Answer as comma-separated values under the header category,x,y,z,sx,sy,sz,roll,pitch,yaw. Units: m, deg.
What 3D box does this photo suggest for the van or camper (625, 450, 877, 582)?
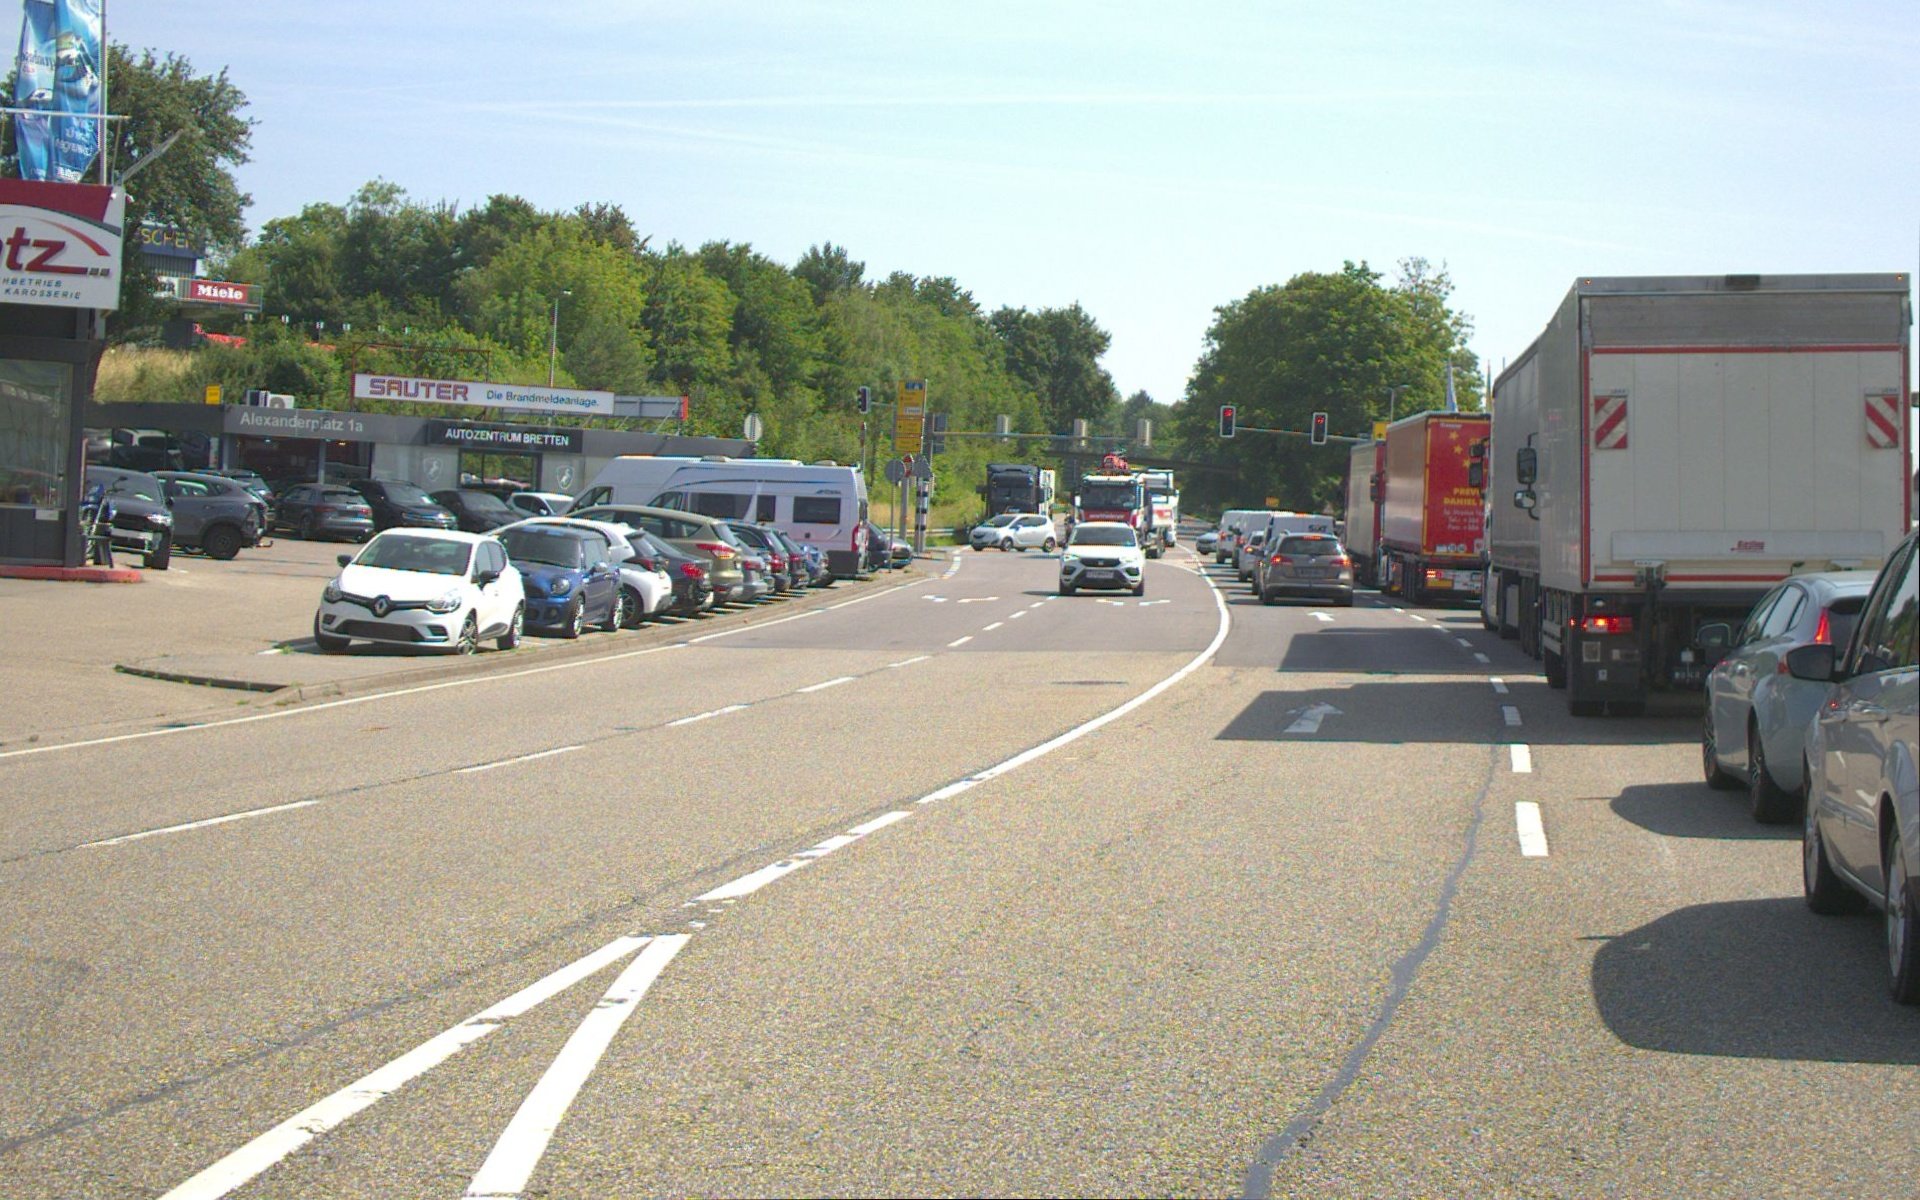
category,x,y,z,sx,sy,sz,roll,pitch,yaw
van or camper,-4.641,-1.883,76.686,5.246,2.722,2.210,2,2,6

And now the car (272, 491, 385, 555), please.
category,x,y,z,sx,sy,sz,roll,pitch,yaw
car,-16.575,-2.032,90.123,1.763,1.582,3.830,1,2,-29

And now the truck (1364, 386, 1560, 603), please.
category,x,y,z,sx,sy,sz,roll,pitch,yaw
truck,11.066,-2.347,77.450,2.957,4.255,16.583,2,2,4

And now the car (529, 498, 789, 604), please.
category,x,y,z,sx,sy,sz,roll,pitch,yaw
car,-5.507,-0.914,63.253,4.459,1.479,1.772,6,2,3

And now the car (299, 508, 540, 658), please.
category,x,y,z,sx,sy,sz,roll,pitch,yaw
car,-6.330,-0.236,40.675,1.779,1.612,3.999,2,1,6

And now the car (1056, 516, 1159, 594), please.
category,x,y,z,sx,sy,sz,roll,pitch,yaw
car,3.259,-0.996,75.280,1.936,1.668,3.999,0,1,7

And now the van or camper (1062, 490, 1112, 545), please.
category,x,y,z,sx,sy,sz,roll,pitch,yaw
van or camper,6.131,-3.985,165.731,2.173,2.542,4.170,2,2,3

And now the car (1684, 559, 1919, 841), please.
category,x,y,z,sx,sy,sz,roll,pitch,yaw
car,5.312,0.520,20.163,1.736,1.424,4.224,2,1,8

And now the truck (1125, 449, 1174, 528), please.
category,x,y,z,sx,sy,sz,roll,pitch,yaw
truck,10.564,-6.164,191.033,2.553,4.292,7.595,1,2,4

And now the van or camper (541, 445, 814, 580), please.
category,x,y,z,sx,sy,sz,roll,pitch,yaw
van or camper,-6.485,-2.035,79.340,5.893,2.863,2.289,2,2,4

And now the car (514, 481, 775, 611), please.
category,x,y,z,sx,sy,sz,roll,pitch,yaw
car,-5.102,-0.896,55.935,3.886,1.710,1.806,6,2,3

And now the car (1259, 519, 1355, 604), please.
category,x,y,z,sx,sy,sz,roll,pitch,yaw
car,7.020,-0.799,69.315,1.791,1.633,3.503,1,1,7

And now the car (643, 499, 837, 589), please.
category,x,y,z,sx,sy,sz,roll,pitch,yaw
car,-4.529,-1.159,70.945,3.708,1.479,1.708,6,2,3

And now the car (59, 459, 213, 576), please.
category,x,y,z,sx,sy,sz,roll,pitch,yaw
car,-13.775,-1.358,57.329,1.821,1.669,4.129,7,-1,-20

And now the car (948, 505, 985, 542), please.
category,x,y,z,sx,sy,sz,roll,pitch,yaw
car,0.366,-4.379,198.033,1.993,2.007,4.000,2,1,-1

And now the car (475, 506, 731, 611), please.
category,x,y,z,sx,sy,sz,roll,pitch,yaw
car,-5.522,-0.659,53.415,3.708,1.520,1.792,1,2,3

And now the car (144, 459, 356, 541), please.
category,x,y,z,sx,sy,sz,roll,pitch,yaw
car,-14.148,-1.986,68.481,3.936,1.527,1.770,1,2,-19

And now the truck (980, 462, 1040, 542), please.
category,x,y,z,sx,sy,sz,roll,pitch,yaw
truck,2.396,-4.787,167.938,2.813,3.773,6.990,0,2,0

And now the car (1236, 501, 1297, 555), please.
category,x,y,z,sx,sy,sz,roll,pitch,yaw
car,9.109,-2.137,102.240,1.727,1.514,3.312,3,1,5

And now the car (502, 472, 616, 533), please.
category,x,y,z,sx,sy,sz,roll,pitch,yaw
car,-11.011,-2.684,94.327,1.763,1.582,3.830,1,2,-29

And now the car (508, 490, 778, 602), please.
category,x,y,z,sx,sy,sz,roll,pitch,yaw
car,-5.397,-0.938,58.865,4.277,1.479,1.836,6,2,3

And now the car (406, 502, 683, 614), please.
category,x,y,z,sx,sy,sz,roll,pitch,yaw
car,-6.141,-0.643,51.095,3.796,1.520,1.846,2,2,3

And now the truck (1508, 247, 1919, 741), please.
category,x,y,z,sx,sy,sz,roll,pitch,yaw
truck,6.856,-0.959,32.501,2.880,3.798,11.139,2,1,7

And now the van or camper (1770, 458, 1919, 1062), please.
category,x,y,z,sx,sy,sz,roll,pitch,yaw
van or camper,4.078,0.462,12.479,1.747,1.781,5.131,2,1,9

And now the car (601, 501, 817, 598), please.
category,x,y,z,sx,sy,sz,roll,pitch,yaw
car,-4.808,-0.982,66.264,3.845,1.479,1.802,6,2,3

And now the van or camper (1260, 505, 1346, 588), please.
category,x,y,z,sx,sy,sz,roll,pitch,yaw
van or camper,8.354,-1.322,84.005,1.852,1.899,3.784,2,2,3

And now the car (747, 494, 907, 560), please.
category,x,y,z,sx,sy,sz,roll,pitch,yaw
car,-3.330,-1.837,86.511,3.817,1.534,1.842,2,1,4

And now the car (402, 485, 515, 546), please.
category,x,y,z,sx,sy,sz,roll,pitch,yaw
car,-13.582,-2.294,92.888,1.763,1.582,3.830,1,2,-29

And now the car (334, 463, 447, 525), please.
category,x,y,z,sx,sy,sz,roll,pitch,yaw
car,-15.244,-2.853,91.893,1.763,1.582,3.830,1,2,-29

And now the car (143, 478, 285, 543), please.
category,x,y,z,sx,sy,sz,roll,pitch,yaw
car,-19.424,-2.330,89.424,3.827,1.582,1.764,3,2,44

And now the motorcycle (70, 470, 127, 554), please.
category,x,y,z,sx,sy,sz,roll,pitch,yaw
motorcycle,-13.343,-1.369,53.233,0.769,1.257,2.056,1,1,-16

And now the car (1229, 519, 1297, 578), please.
category,x,y,z,sx,sy,sz,roll,pitch,yaw
car,8.223,-1.388,93.379,1.727,1.514,3.312,3,1,5

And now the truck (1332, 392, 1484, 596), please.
category,x,y,z,sx,sy,sz,roll,pitch,yaw
truck,12.563,-2.985,97.961,3.063,5.202,17.005,2,2,4

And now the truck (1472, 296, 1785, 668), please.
category,x,y,z,sx,sy,sz,roll,pitch,yaw
truck,9.034,-1.562,48.434,2.891,4.251,16.706,2,1,6

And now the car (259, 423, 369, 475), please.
category,x,y,z,sx,sy,sz,roll,pitch,yaw
car,-19.392,-4.534,103.177,1.731,1.445,3.748,2,1,-37

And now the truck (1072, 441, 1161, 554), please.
category,x,y,z,sx,sy,sz,roll,pitch,yaw
truck,6.106,-3.926,132.662,2.957,4.194,10.645,0,1,5

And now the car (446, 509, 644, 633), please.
category,x,y,z,sx,sy,sz,roll,pitch,yaw
car,-5.720,-0.427,47.822,1.780,1.489,3.781,6,2,6

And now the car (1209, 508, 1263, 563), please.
category,x,y,z,sx,sy,sz,roll,pitch,yaw
car,10.046,-2.320,124.800,1.727,1.902,3.311,3,1,7
